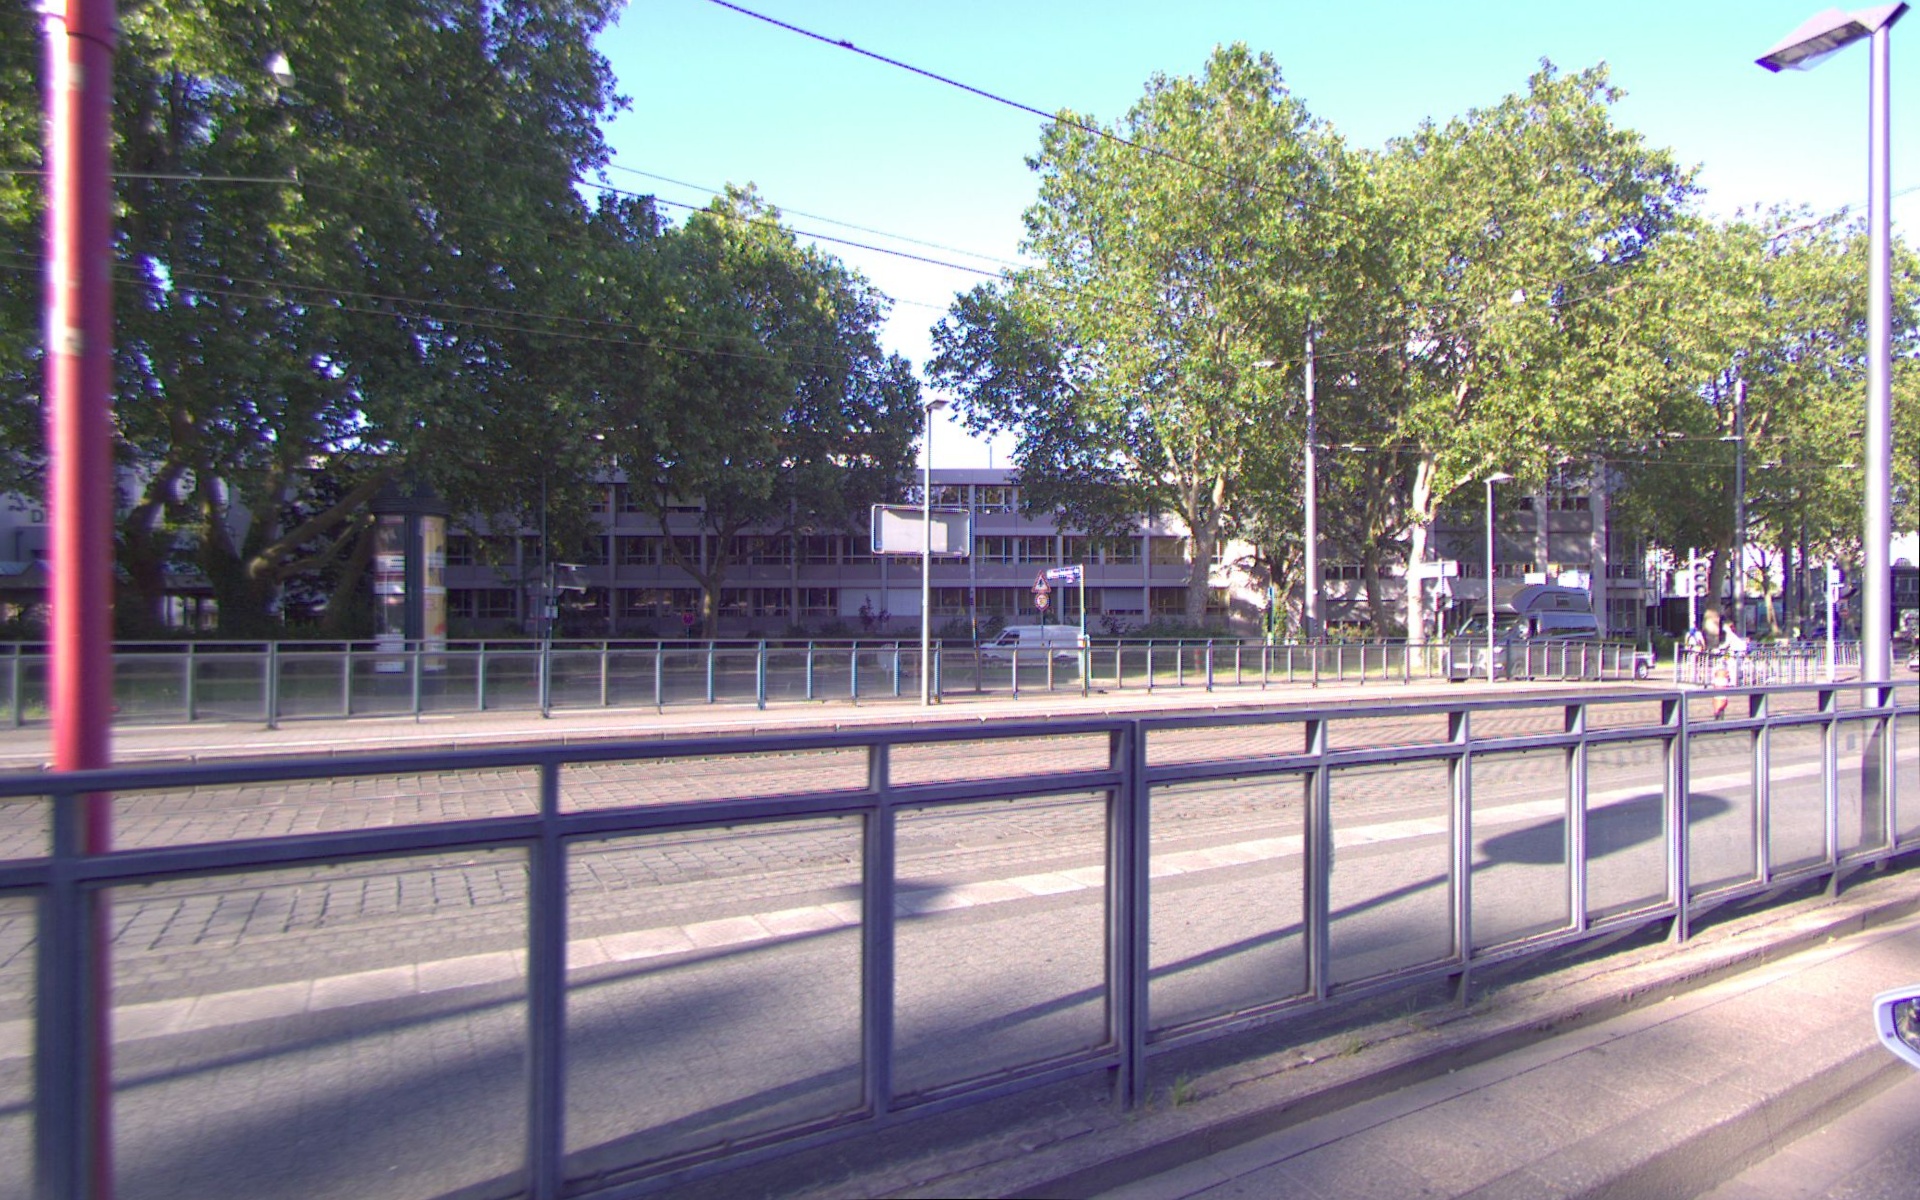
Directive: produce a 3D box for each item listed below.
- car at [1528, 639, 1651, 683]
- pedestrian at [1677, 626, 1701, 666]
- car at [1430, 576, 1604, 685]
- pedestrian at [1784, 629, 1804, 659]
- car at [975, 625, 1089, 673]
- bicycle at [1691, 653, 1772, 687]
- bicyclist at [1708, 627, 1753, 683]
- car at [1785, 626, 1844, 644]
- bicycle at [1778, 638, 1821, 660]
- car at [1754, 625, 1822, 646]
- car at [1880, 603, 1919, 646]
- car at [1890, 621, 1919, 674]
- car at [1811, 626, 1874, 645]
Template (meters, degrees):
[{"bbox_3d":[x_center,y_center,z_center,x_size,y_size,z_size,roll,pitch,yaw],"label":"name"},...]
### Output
[{"bbox_3d":[18.789,1.793,29.982,2.880,1.178,2.056,2,-1,-32],"label":"car"},{"bbox_3d":[28.990,1.834,39.944,0.669,1.572,0.533,1,-1,-30],"label":"pedestrian"},{"bbox_3d":[15.488,0.871,27.857,4.976,2.779,2.056,2,-1,-32],"label":"car"},{"bbox_3d":[46.483,2.445,55.982,0.642,1.683,0.646,1,-1,-27],"label":"pedestrian"},{"bbox_3d":[3.709,2.530,52.392,5.616,2.366,2.156,1,-1,-7],"label":"car"},{"bbox_3d":[20.079,1.808,26.174,1.584,0.827,0.527,0,-1,16],"label":"bicycle"},{"bbox_3d":[20.082,1.434,26.177,0.787,1.433,0.527,0,-1,16],"label":"bicyclist"},{"bbox_3d":[74.763,3.032,87.899,3.925,1.530,1.798,1,-1,-6],"label":"car"},{"bbox_3d":[46.948,2.731,56.172,0.494,1.122,1.788,1,-1,-27],"label":"bicycle"},{"bbox_3d":[65.764,2.817,79.834,1.767,1.530,3.994,1,-1,-9],"label":"car"},{"bbox_3d":[75.090,1.892,77.465,6.413,3.207,2.501,1,-1,-7],"label":"car"},{"bbox_3d":[33.698,1.611,33.084,4.077,1.715,1.822,1,0,17],"label":"car"},{"bbox_3d":[74.760,2.993,85.114,3.925,1.530,1.798,1,-1,-6],"label":"car"}]
